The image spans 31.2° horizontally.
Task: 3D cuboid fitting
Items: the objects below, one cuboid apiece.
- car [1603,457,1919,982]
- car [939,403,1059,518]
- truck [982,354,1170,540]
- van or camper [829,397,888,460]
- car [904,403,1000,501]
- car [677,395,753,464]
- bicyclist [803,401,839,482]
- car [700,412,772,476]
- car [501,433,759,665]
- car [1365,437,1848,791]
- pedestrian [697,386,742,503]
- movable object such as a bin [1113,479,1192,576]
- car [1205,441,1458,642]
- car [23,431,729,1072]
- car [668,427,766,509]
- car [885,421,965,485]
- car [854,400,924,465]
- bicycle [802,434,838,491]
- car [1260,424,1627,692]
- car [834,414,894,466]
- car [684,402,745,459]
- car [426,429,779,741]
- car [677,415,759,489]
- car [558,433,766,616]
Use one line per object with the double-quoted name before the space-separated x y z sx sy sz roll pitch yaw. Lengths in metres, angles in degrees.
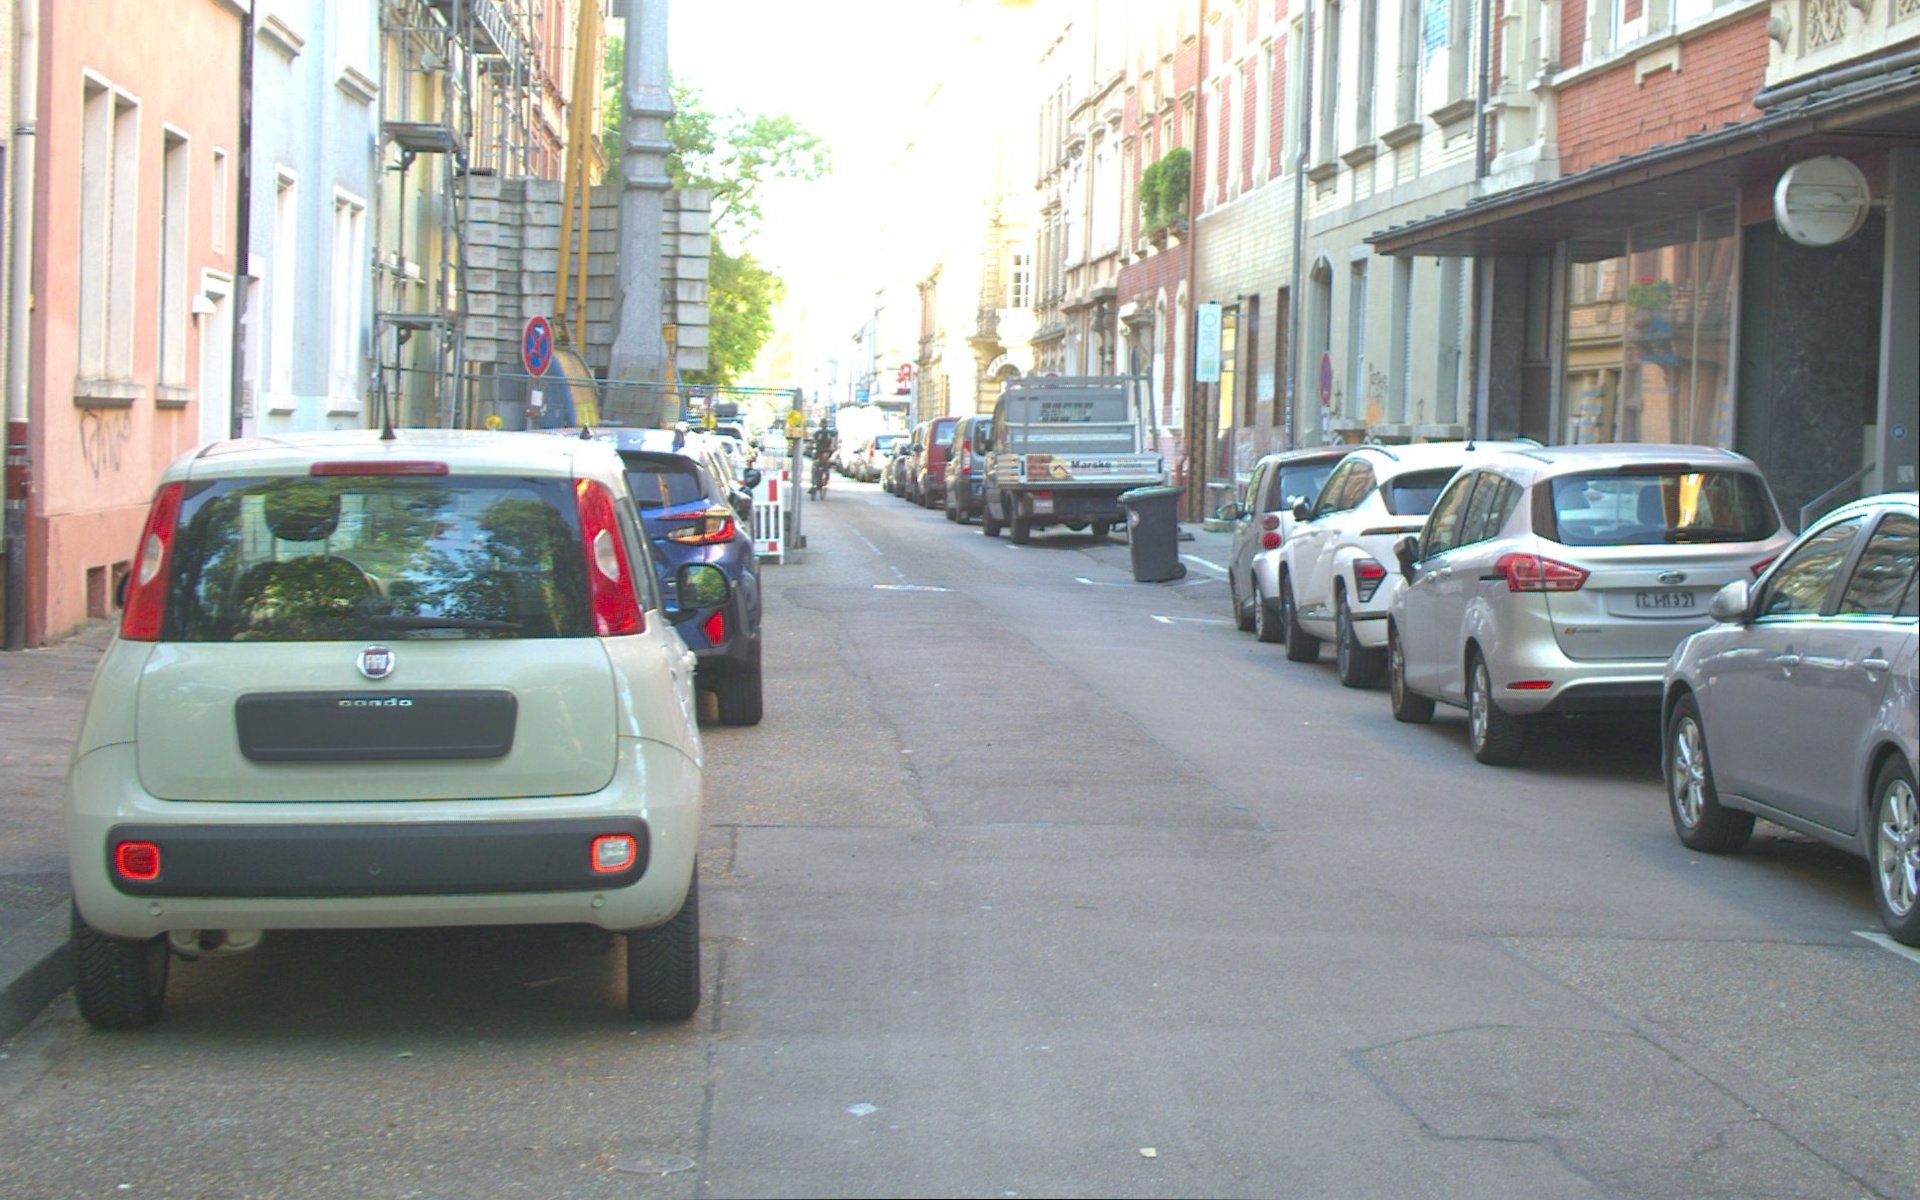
"car" 3.729 0.327 12.299 1.721 1.556 4.400 2 3 -4
"car" 0.663 -2.515 61.641 1.674 1.956 4.110 1 3 -6
"truck" 1.653 -2.292 51.172 2.189 2.598 5.236 0 3 -5
"van or camper" -4.163 -7.009 140.431 1.993 2.499 4.204 0 3 -8
"car" -0.203 -3.202 74.088 1.674 2.024 3.870 1 3 -6
"car" -5.848 -4.055 81.923 1.674 1.565 3.870 1 3 -6
"bicyclist" -3.084 -3.517 76.125 0.730 1.755 0.835 2 3 -3
"car" -5.700 -3.962 87.143 1.674 1.565 3.870 1 3 -6
"car" -2.319 -0.440 24.905 1.674 1.506 4.416 1 3 -4
"car" 3.318 -0.020 18.375 1.640 1.650 3.870 2 3 -3
"pedestrian" -3.603 -2.335 51.516 0.657 1.726 0.720 -1 3 -4
"movable object such as a bin" 2.181 -0.826 38.976 0.795 1.052 0.660 1 3 -3
"car" 3.087 -0.548 29.244 1.596 1.555 3.814 1 3 -2
"car" -1.591 0.274 10.212 1.674 1.534 3.870 0 3 -6
"car" -4.482 -2.439 63.029 1.674 1.440 3.870 1 3 -6
"car" -0.920 -3.751 87.553 1.674 1.565 3.870 1 3 -6
"car" -2.338 -5.455 111.898 1.993 2.006 4.001 2 3 -5
"bicycle" -3.105 -3.055 76.185 0.724 1.182 2.043 2 4 -3
"car" 3.263 -0.368 24.023 1.746 1.669 4.341 1 3 -2
"car" -3.521 -5.856 125.573 1.993 1.842 4.001 0 3 -5
"car" -8.262 -5.692 115.267 1.993 1.842 4.001 0 3 -5
"car" -1.974 -0.179 19.140 1.729 1.534 4.379 0 3 -6
"car" -5.418 -3.309 76.683 1.674 1.565 3.870 1 3 -6
"car" -2.593 -0.727 30.513 1.674 1.472 4.609 1 3 -4
